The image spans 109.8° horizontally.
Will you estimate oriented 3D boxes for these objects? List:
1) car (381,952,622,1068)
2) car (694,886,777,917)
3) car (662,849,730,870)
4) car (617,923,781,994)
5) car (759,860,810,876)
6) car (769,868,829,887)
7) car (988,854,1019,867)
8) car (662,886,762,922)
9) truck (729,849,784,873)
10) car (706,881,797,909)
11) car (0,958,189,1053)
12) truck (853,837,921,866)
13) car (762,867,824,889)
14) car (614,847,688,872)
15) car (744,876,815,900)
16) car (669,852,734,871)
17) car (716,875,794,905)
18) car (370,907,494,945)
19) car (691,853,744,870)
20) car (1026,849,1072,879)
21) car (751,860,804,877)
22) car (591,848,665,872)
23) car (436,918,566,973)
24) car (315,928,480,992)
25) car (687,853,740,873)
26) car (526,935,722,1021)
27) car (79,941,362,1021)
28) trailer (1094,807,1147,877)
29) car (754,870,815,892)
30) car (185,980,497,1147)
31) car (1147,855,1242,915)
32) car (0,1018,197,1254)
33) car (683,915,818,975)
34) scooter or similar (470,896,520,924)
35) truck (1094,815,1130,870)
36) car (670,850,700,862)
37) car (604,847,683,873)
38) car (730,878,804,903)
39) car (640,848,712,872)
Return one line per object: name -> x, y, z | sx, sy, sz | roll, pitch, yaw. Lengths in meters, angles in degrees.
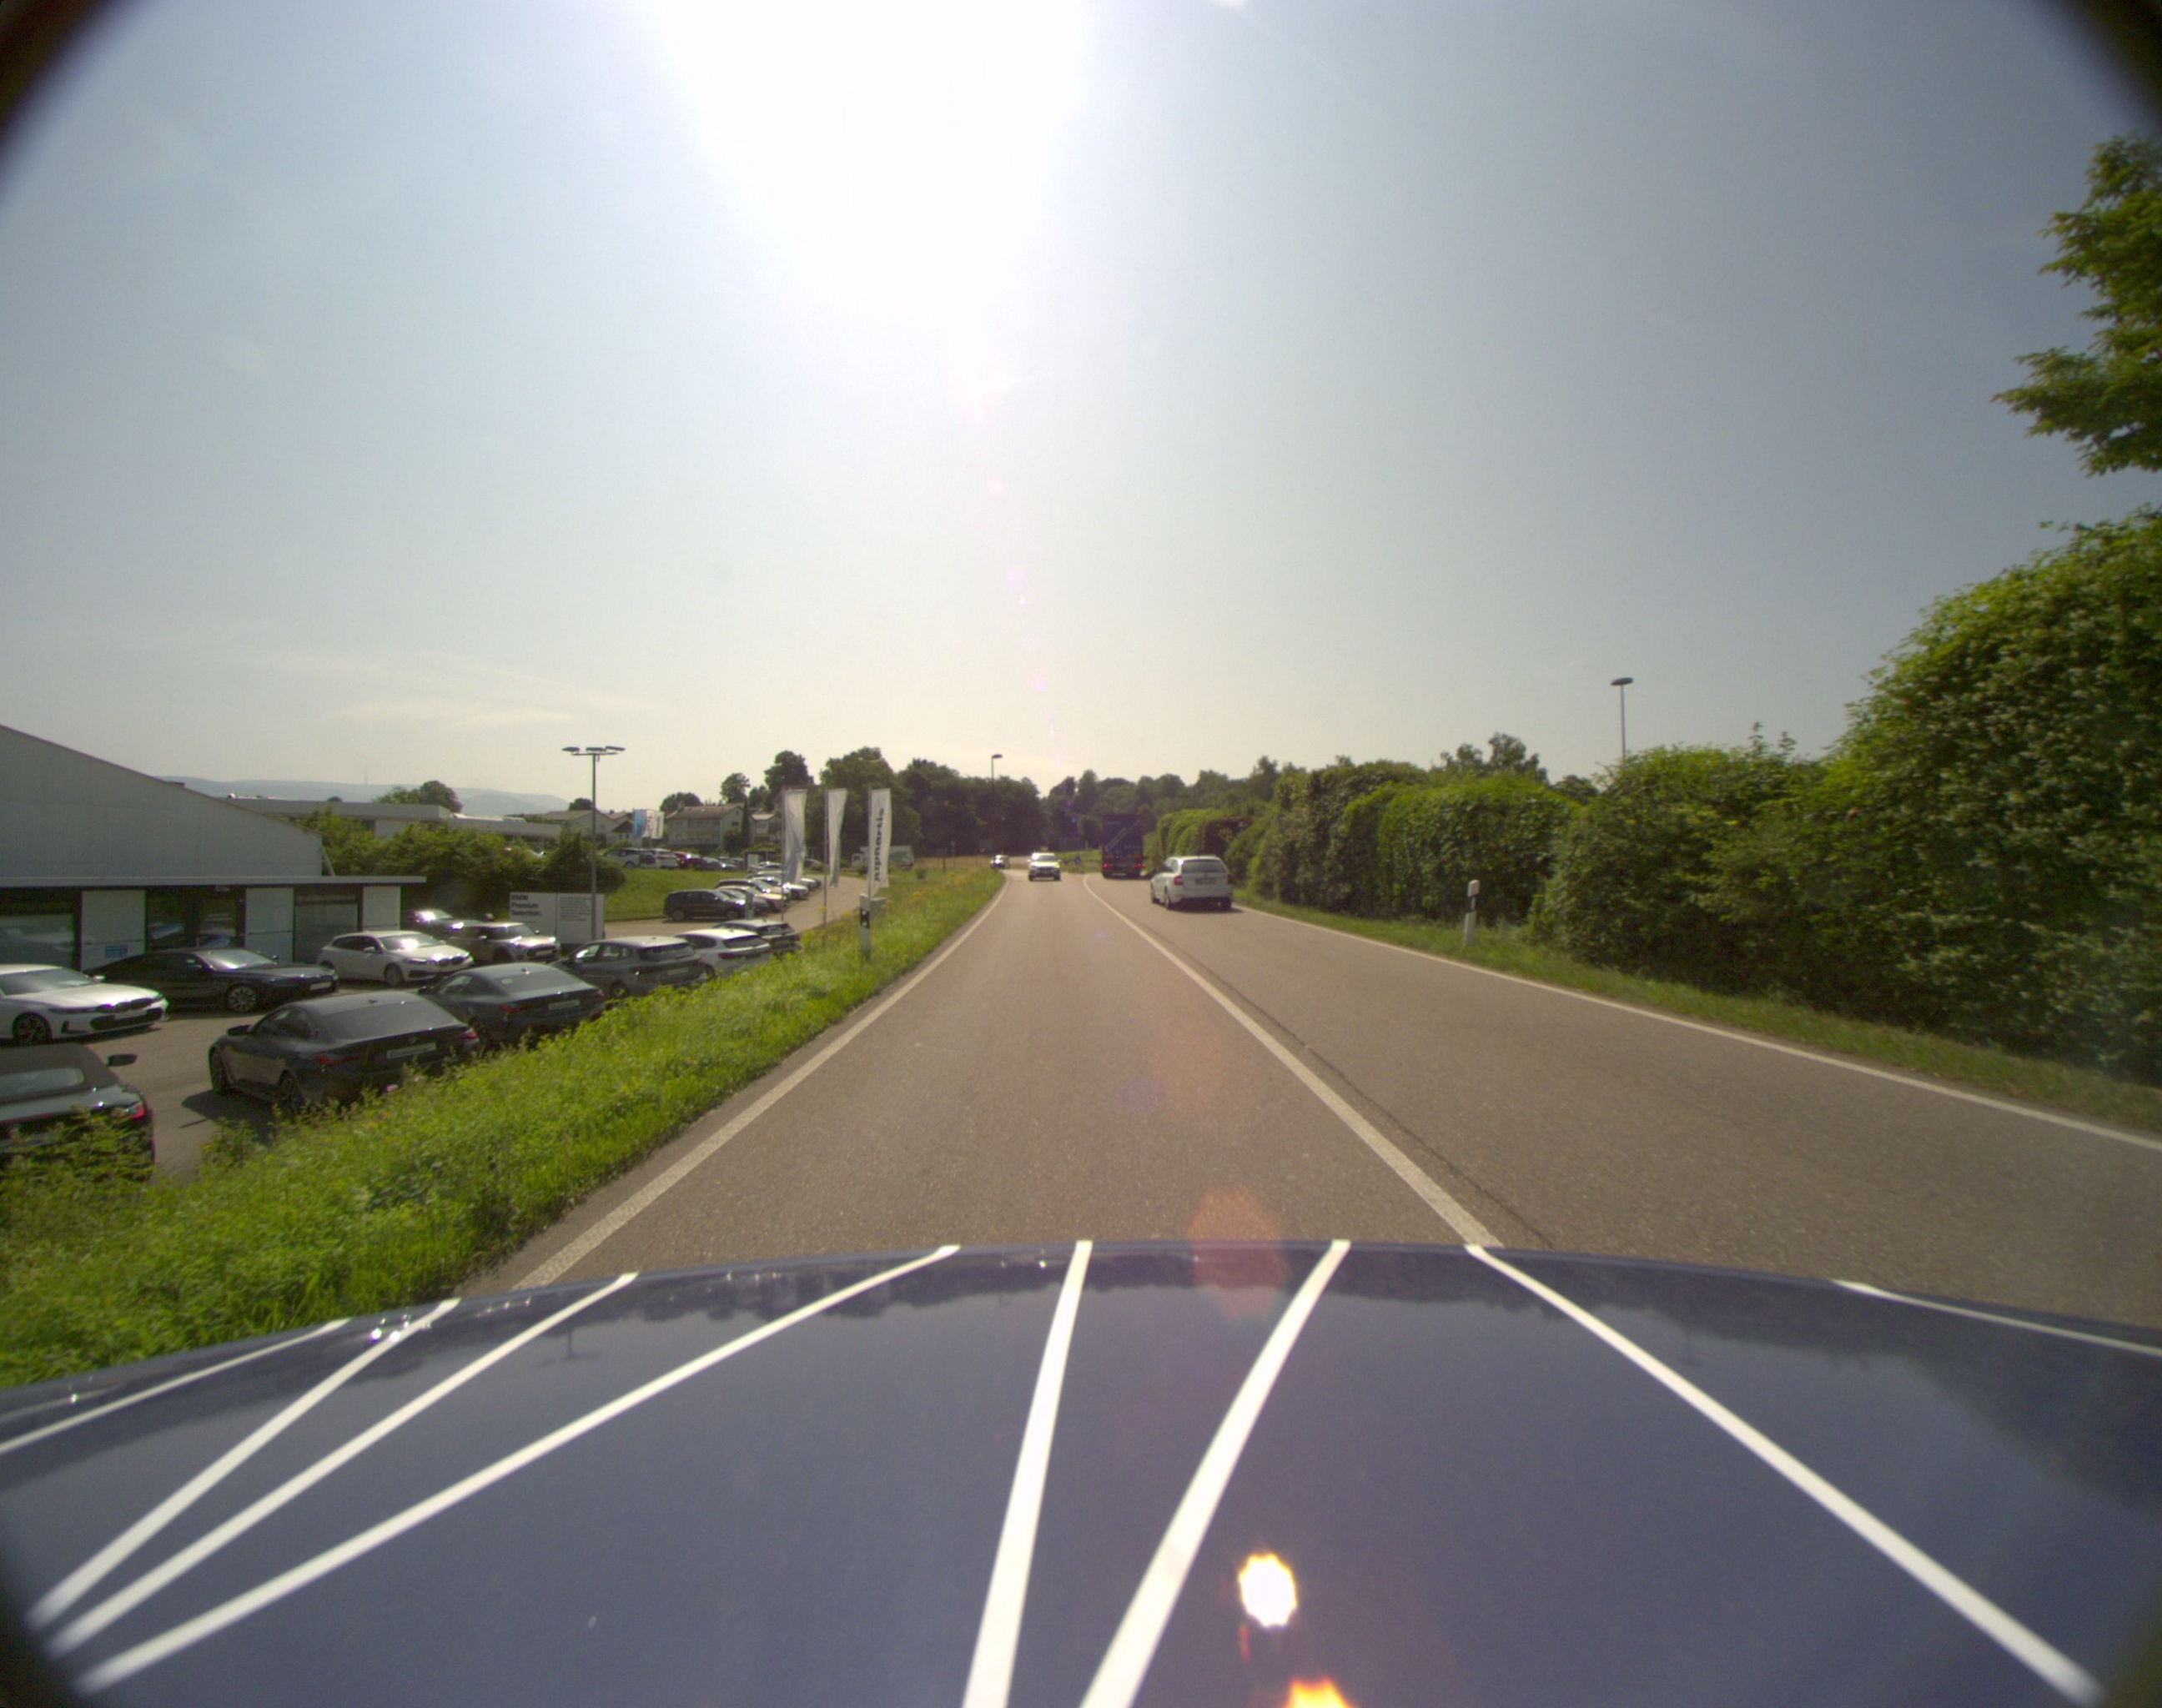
car -> -10.875, 2.793, 14.236 | 4.162, 1.514, 1.859 | -1, 1, 26
car -> -19.897, 2.700, 43.935 | 4.001, 1.543, 1.997 | 0, 2, -13
car -> -30.148, 0.455, 59.571 | 4.461, 1.625, 1.951 | 0, 0, 10
car -> -10.381, 2.766, 20.618 | 4.162, 1.514, 1.754 | -1, 1, 26
car -> -29.084, 1.380, 74.498 | 4.583, 1.561, 1.764 | 1, 1, -24
car -> -23.549, 1.994, 63.440 | 4.578, 1.413, 1.779 | 1, 2, -23
car -> -10.622, 0.811, 104.646 | 2.193, 1.642, 6.025 | -2, 0, 16
car -> -20.006, 2.679, 41.395 | 4.497, 1.631, 2.144 | -1, 2, -13
truck -> -36.401, 0.766, 85.212 | 5.616, 2.649, 1.952 | 0, 0, 16
car -> -20.042, 2.474, 46.392 | 4.782, 1.500, 1.997 | 1, 2, -9
car -> -21.293, 3.003, 15.296 | 4.436, 1.514, 1.932 | -1, 1, 2
truck -> -27.654, -0.355, 108.711 | 9.024, 3.807, 2.897 | -2, 1, -10
car -> -23.046, 1.931, 60.964 | 4.577, 1.557, 1.919 | 1, 2, -18
car -> -30.785, 0.396, 54.424 | 4.461, 1.737, 1.841 | 0, 0, 10
car -> -21.130, 2.385, 53.464 | 4.439, 1.457, 1.919 | 1, 2, -17
car -> -31.043, 0.600, 62.154 | 4.461, 1.491, 1.951 | 0, 0, 10
car -> -20.881, 2.311, 48.835 | 4.262, 1.739, 1.997 | 1, 2, -9
car -> -26.734, 2.953, 31.351 | 3.945, 1.368, 1.720 | -2, 1, 9
car -> -32.343, 0.683, 67.610 | 4.000, 1.517, 1.952 | 0, 0, 16
car -> -2.040, 0.603, 46.146 | 2.197, 1.642, 5.118 | -2, 0, -9
car -> -30.563, 1.444, 76.482 | 4.674, 1.561, 1.764 | 3, -1, -29
car -> -29.126, 0.398, 48.877 | 3.881, 1.523, 1.770 | 0, 0, 10
car -> -19.280, 2.988, 25.259 | 3.794, 1.514, 1.754 | -1, 1, 24
car -> -19.824, 3.018, 22.076 | 3.962, 1.514, 1.753 | -1, 1, 17
car -> -34.070, 0.833, 70.532 | 4.002, 1.740, 1.951 | 1, 0, 10
car -> -10.659, 2.798, 17.717 | 4.162, 1.514, 1.859 | -1, 1, 25
car -> -20.583, 3.022, 18.354 | 4.438, 1.514, 1.931 | -1, 0, -3
trailer -> 2.592, -0.807, 54.150 | 2.677, 4.216, 14.563 | -2, 1, -1
car -> -22.771, 2.095, 58.522 | 4.265, 1.474, 1.919 | 1, 2, -18
car -> -10.678, 2.834, 10.952 | 4.162, 1.514, 1.859 | -1, 1, 26
car -> 3.122, 0.801, 21.743 | 1.834, 1.462, 4.408 | -2, 1, -3
car -> -11.656, 2.885, 8.134 | 4.631, 1.514, 1.859 | -1, 1, 28
car -> -10.426, 2.781, 23.891 | 4.161, 1.514, 1.693 | -1, 1, 30
scooter or similar -> -29.986, 2.878, 38.898 | 1.980, 1.306, 0.622 | -2, 1, -5
truck -> 2.438, -0.888, 61.697 | 2.519, 4.233, 6.111 | 0, 1, -1
car -> -48.522, 0.238, 93.037 | 4.363, 1.503, 1.914 | 0, -1, 43
car -> -29.537, 0.410, 51.364 | 4.461, 1.737, 1.841 | 0, 0, 10
car -> -21.077, 2.440, 51.151 | 4.262, 1.457, 1.871 | 1, 2, -9
car -> -30.098, 0.453, 56.546 | 4.461, 1.737, 1.951 | 0, 0, 10
